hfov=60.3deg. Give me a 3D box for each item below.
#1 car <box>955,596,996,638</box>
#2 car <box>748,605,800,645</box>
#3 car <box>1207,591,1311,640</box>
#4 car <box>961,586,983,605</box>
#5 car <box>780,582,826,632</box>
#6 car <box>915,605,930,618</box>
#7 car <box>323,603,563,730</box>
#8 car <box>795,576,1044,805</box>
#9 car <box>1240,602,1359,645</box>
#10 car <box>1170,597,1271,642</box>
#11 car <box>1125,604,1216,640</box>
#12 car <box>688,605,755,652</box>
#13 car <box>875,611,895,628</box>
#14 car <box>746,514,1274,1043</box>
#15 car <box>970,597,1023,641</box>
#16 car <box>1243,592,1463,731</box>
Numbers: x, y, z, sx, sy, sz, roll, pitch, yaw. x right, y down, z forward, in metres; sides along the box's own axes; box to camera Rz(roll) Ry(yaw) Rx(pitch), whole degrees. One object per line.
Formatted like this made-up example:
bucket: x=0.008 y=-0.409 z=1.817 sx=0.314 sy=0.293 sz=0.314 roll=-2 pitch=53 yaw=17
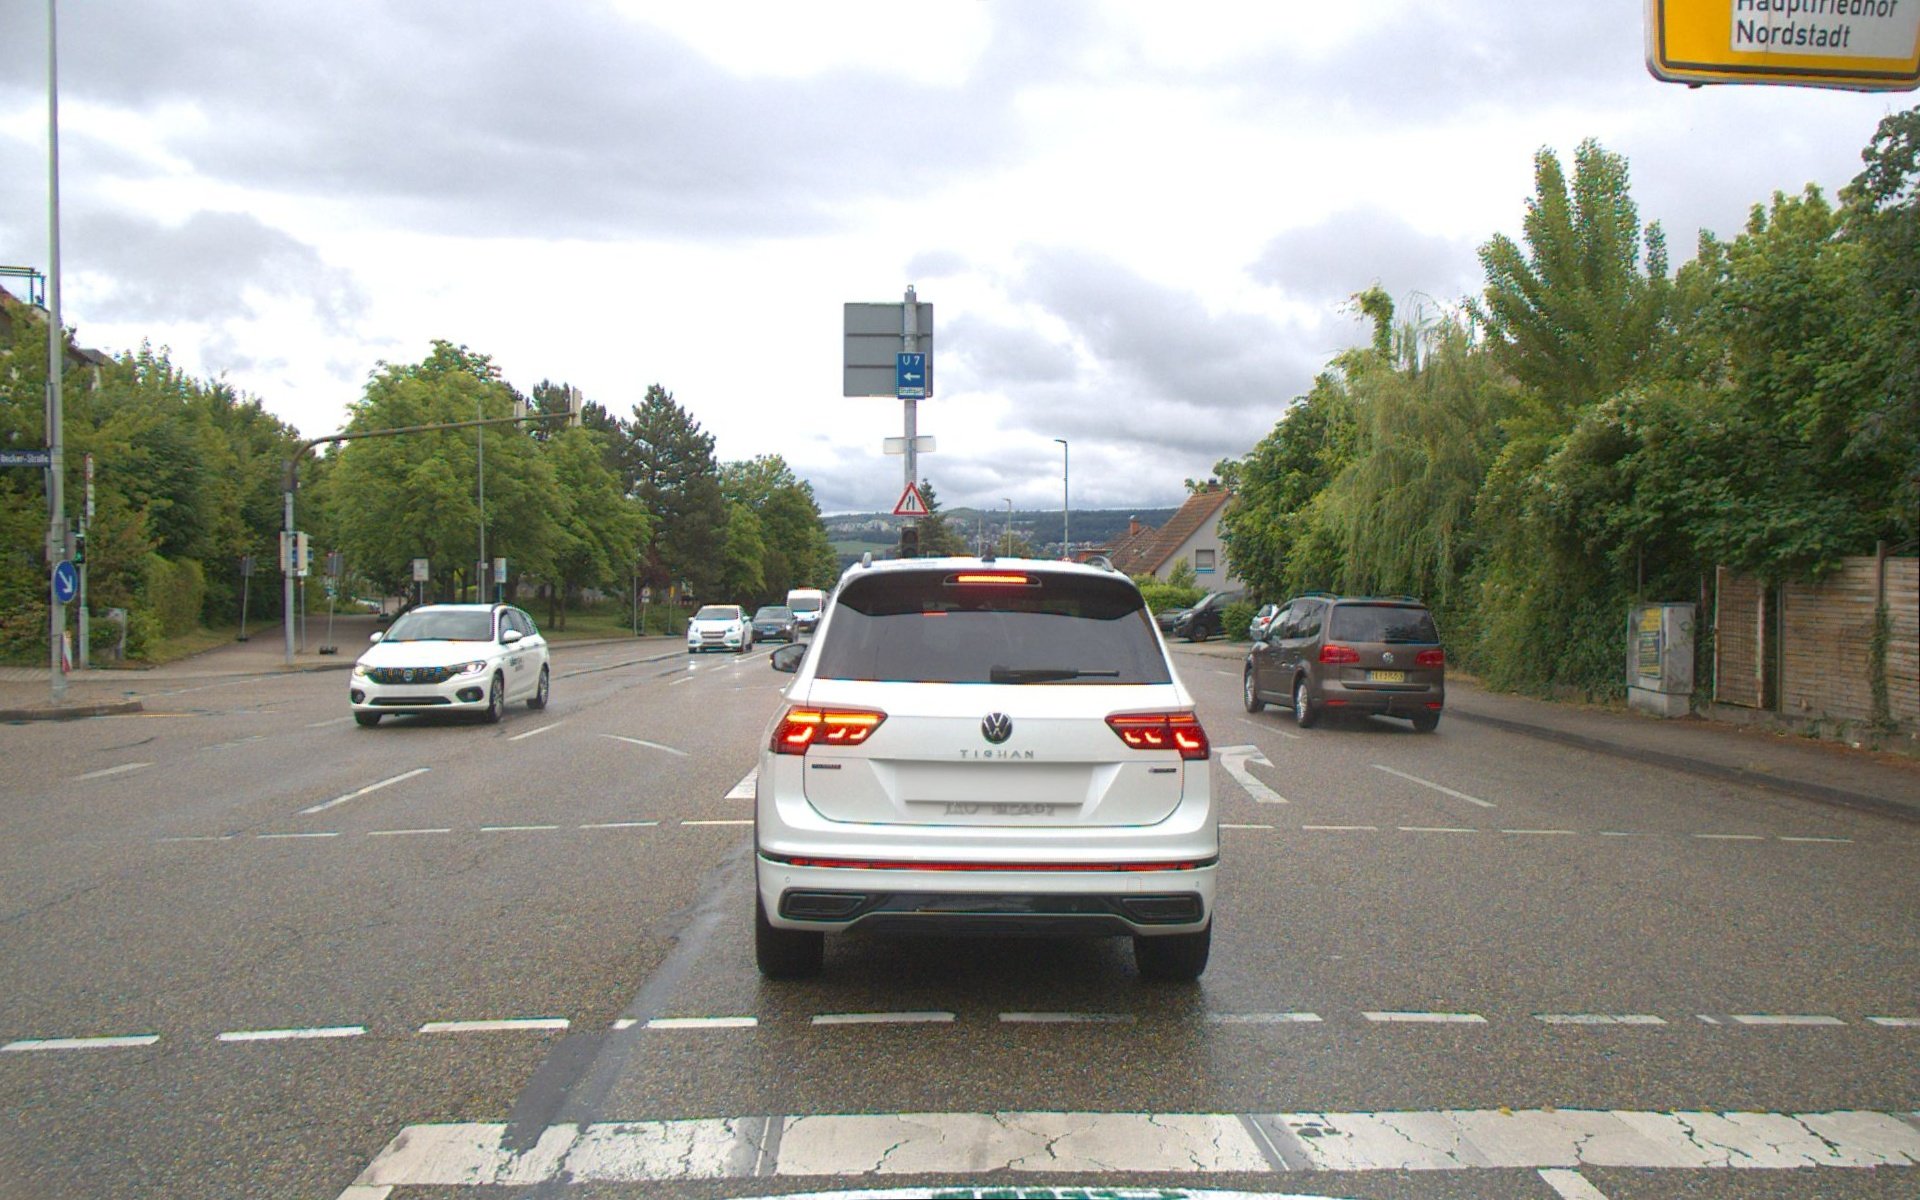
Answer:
car: x=0.664 y=0.736 z=74.160 sx=1.677 sy=1.789 sz=3.800 roll=0 pitch=0 yaw=-2
car: x=-7.617 y=0.988 z=67.937 sx=1.740 sy=1.528 sz=4.470 roll=-1 pitch=0 yaw=-2
car: x=11.238 y=0.595 z=62.368 sx=3.556 sy=1.777 sz=1.706 roll=0 pitch=-2 yaw=-5
car: x=1.054 y=-0.397 z=145.979 sx=1.813 sy=1.602 sz=3.999 roll=0 pitch=0 yaw=-1
car: x=-8.401 y=0.347 z=88.983 sx=2.251 sy=2.572 sz=5.770 roll=0 pitch=0 yaw=-3
car: x=-4.506 y=1.400 z=200.366 sx=1.813 sy=1.602 sz=3.999 roll=0 pitch=0 yaw=-1
car: x=-6.755 y=0.807 z=22.115 sx=1.928 sy=1.480 sz=4.307 roll=-1 pitch=0 yaw=-2
car: x=-0.301 y=0.645 z=13.825 sx=1.762 sy=1.617 sz=3.926 roll=1 pitch=0 yaw=0
car: x=11.671 y=0.811 z=56.991 sx=3.644 sy=1.420 sz=1.725 roll=0 pitch=-1 yaw=-8
car: x=10.181 y=0.756 z=64.767 sx=3.556 sy=1.654 sz=1.789 roll=1 pitch=0 yaw=-5
car: x=8.823 y=0.935 z=69.525 sx=3.613 sy=1.394 sz=1.518 roll=1 pitch=-2 yaw=-3
car: x=-7.511 y=0.872 z=52.379 sx=1.711 sy=1.421 sz=3.800 roll=0 pitch=0 yaw=-3
car: x=-8.264 y=2.171 z=182.052 sx=1.953 sy=1.758 sz=3.999 roll=2 pitch=0 yaw=-1
car: x=0.115 y=0.600 z=7.717 sx=1.727 sy=1.725 sz=4.271 roll=2 pitch=0 yaw=-2
car: x=1.264 y=0.660 z=59.144 sx=1.646 sy=1.485 sz=3.800 roll=1 pitch=0 yaw=-2
car: x=4.991 y=0.725 z=21.560 sx=1.701 sy=1.602 sz=4.066 roll=1 pitch=0 yaw=-3
